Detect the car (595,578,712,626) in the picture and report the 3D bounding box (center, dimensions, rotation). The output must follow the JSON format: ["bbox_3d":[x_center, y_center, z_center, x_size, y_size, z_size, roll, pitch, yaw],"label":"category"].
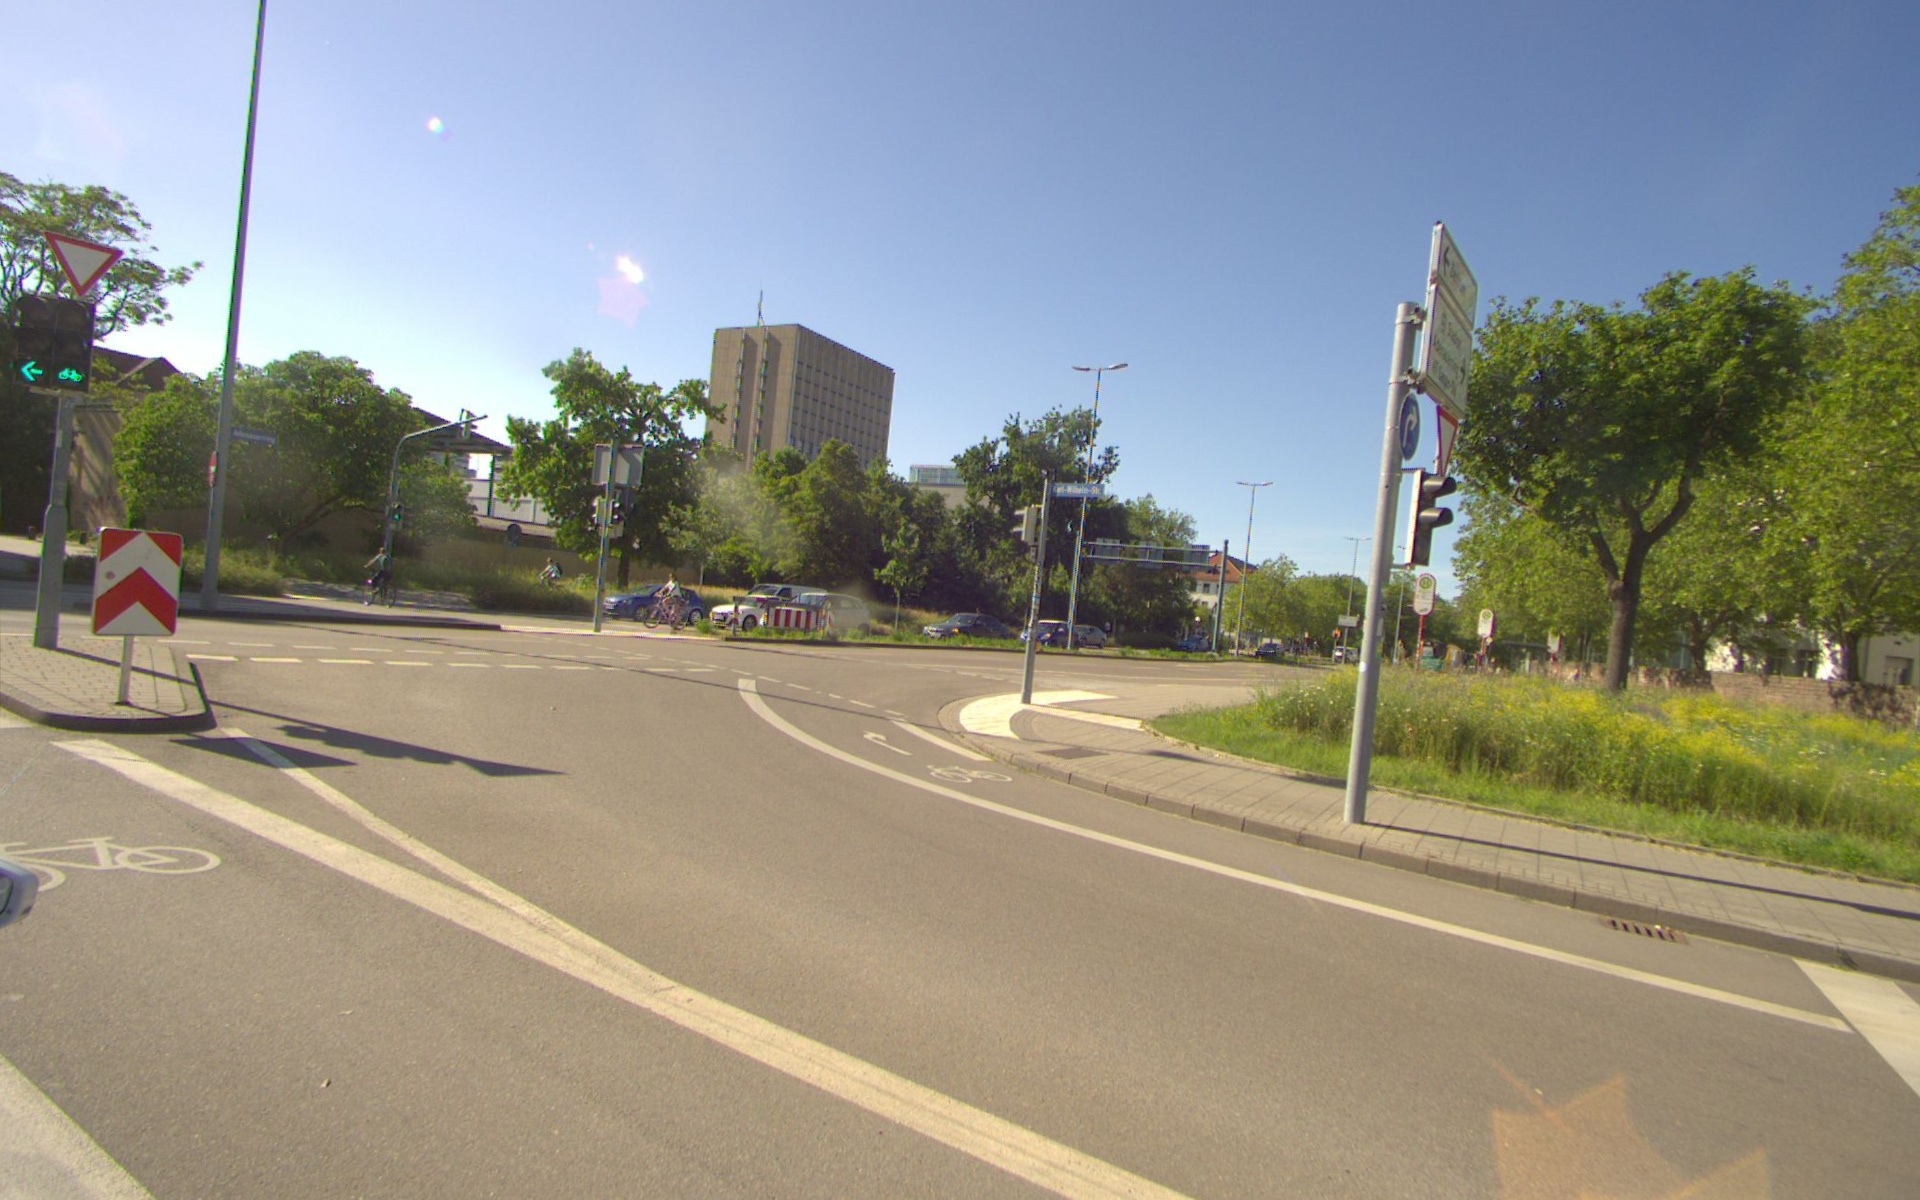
[{"bbox_3d":[-11.549,0.107,38.113,1.678,1.459,3.988,4,-2,35],"label":"car"}]

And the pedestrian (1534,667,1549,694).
[{"bbox_3d":[37.513,5.212,64.876,0.642,1.630,0.558,6,-1,29],"label":"pedestrian"}]

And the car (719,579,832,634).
[{"bbox_3d":[-7.940,0.324,43.728,1.909,1.976,4.743,4,-1,35],"label":"car"}]

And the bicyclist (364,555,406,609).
[{"bbox_3d":[-16.808,-0.526,29.398,0.763,1.463,0.642,8,2,25],"label":"bicyclist"}]

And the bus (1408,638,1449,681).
[{"bbox_3d":[42.307,5.460,90.888,2.935,3.310,6.256,6,-2,26],"label":"bus"}]

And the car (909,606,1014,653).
[{"bbox_3d":[0.131,1.257,41.534,1.953,1.573,4.710,4,-2,35],"label":"car"}]

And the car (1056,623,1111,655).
[{"bbox_3d":[8.382,2.664,67.949,1.907,1.821,4.351,5,-1,32],"label":"car"}]

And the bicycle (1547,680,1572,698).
[{"bbox_3d":[39.286,5.816,65.941,0.781,1.088,2.088,7,-2,16],"label":"bicycle"}]

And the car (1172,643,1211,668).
[{"bbox_3d":[19.556,4.691,84.756,1.816,1.851,4.381,5,-1,31],"label":"car"}]

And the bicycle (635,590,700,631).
[{"bbox_3d":[-9.292,0.353,32.028,0.736,1.180,1.864,6,1,33],"label":"bicycle"}]

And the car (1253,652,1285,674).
[{"bbox_3d":[31.464,6.380,102.325,1.907,1.976,4.748,5,-1,31],"label":"car"}]

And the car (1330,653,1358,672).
[{"bbox_3d":[43.602,7.124,114.277,1.908,1.976,4.520,5,-1,34],"label":"car"}]

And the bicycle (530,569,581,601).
[{"bbox_3d":[-17.245,-0.627,42.916,0.632,1.180,1.951,9,2,32],"label":"bicycle"}]

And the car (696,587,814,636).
[{"bbox_3d":[-7.760,0.468,38.367,1.971,1.487,3.982,6,0,39],"label":"car"}]

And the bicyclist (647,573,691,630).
[{"bbox_3d":[-9.266,0.051,32.011,0.734,1.707,0.974,7,2,33],"label":"bicyclist"}]

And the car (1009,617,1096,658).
[{"bbox_3d":[4.456,1.802,47.641,1.953,1.573,4.710,4,-2,35],"label":"car"}]

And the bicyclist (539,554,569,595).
[{"bbox_3d":[-17.251,-1.091,42.785,0.621,1.616,0.830,9,3,32],"label":"bicyclist"}]

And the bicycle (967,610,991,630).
[{"bbox_3d":[1.311,1.366,67.314,0.632,1.179,1.866,6,0,32],"label":"bicycle"}]

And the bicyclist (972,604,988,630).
[{"bbox_3d":[1.327,1.126,67.301,0.633,1.666,0.774,6,1,33],"label":"bicyclist"}]

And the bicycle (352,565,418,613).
[{"bbox_3d":[-16.811,-0.331,29.404,1.836,1.180,0.642,8,2,25],"label":"bicycle"}]

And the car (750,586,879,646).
[{"bbox_3d":[-4.861,0.578,34.145,1.762,1.644,4.303,4,-1,35],"label":"car"}]
